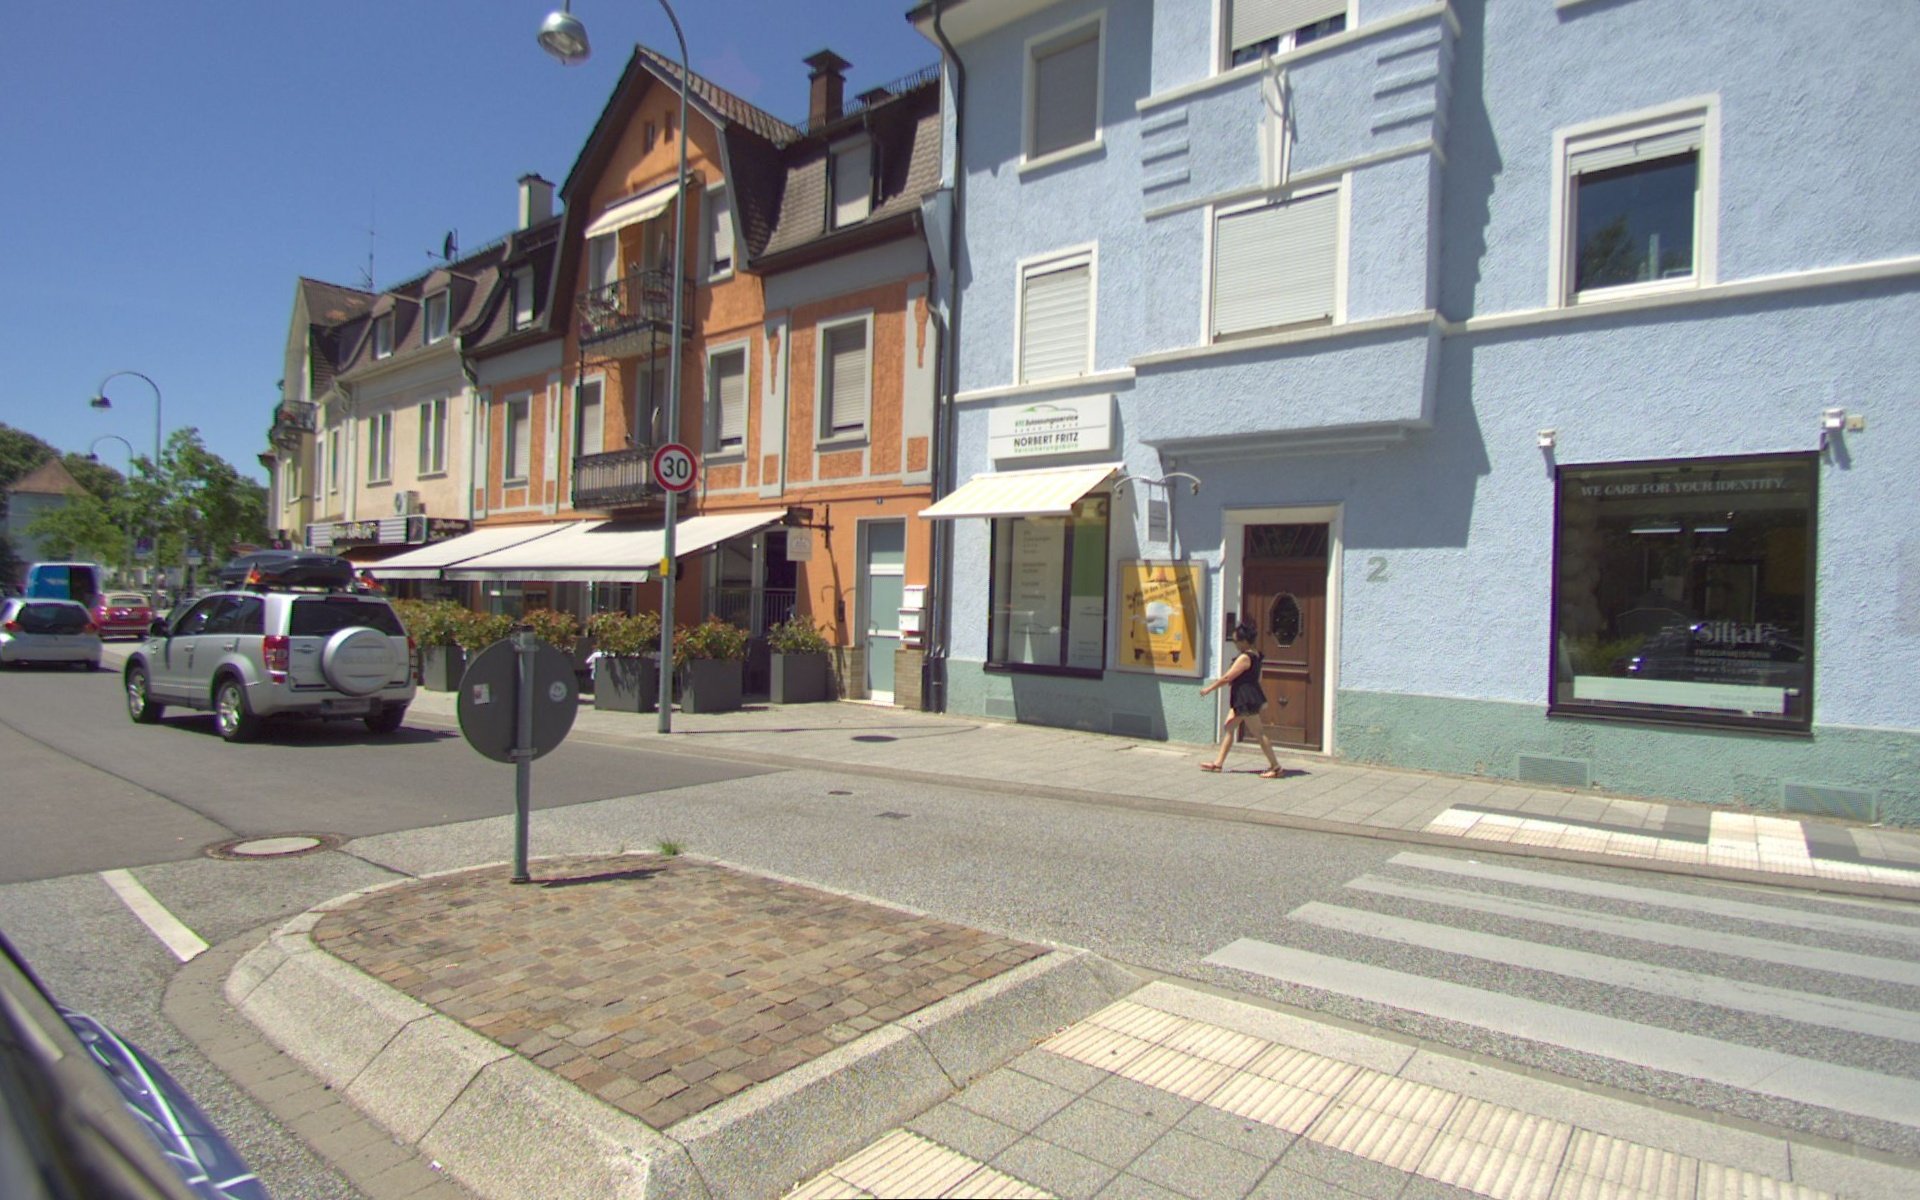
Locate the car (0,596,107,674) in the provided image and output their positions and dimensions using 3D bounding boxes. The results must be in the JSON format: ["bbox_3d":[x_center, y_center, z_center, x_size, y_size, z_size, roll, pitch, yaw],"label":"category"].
[{"bbox_3d":[-19.320,0.690,21.030,3.589,1.469,1.662,1,-3,38],"label":"car"}]

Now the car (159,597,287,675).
[{"bbox_3d":[-16.453,0.727,22.519,3.948,1.558,1.659,1,0,44],"label":"car"}]

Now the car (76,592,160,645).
[{"bbox_3d":[-26.525,0.552,31.837,3.595,1.558,1.659,1,0,44],"label":"car"}]

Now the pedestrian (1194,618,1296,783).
[{"bbox_3d":[2.821,0.957,10.032,0.802,1.536,0.620,0,0,38],"label":"pedestrian"}]

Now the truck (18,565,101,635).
[{"bbox_3d":[-32.740,-0.020,36.752,4.339,2.388,1.933,1,0,44],"label":"truck"}]

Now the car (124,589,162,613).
[{"bbox_3d":[-54.221,0.030,67.204,1.655,1.558,3.603,0,0,-34],"label":"car"}]

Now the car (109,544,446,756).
[{"bbox_3d":[-8.350,0.493,12.257,4.441,2.123,1.908,1,-1,36],"label":"car"}]
